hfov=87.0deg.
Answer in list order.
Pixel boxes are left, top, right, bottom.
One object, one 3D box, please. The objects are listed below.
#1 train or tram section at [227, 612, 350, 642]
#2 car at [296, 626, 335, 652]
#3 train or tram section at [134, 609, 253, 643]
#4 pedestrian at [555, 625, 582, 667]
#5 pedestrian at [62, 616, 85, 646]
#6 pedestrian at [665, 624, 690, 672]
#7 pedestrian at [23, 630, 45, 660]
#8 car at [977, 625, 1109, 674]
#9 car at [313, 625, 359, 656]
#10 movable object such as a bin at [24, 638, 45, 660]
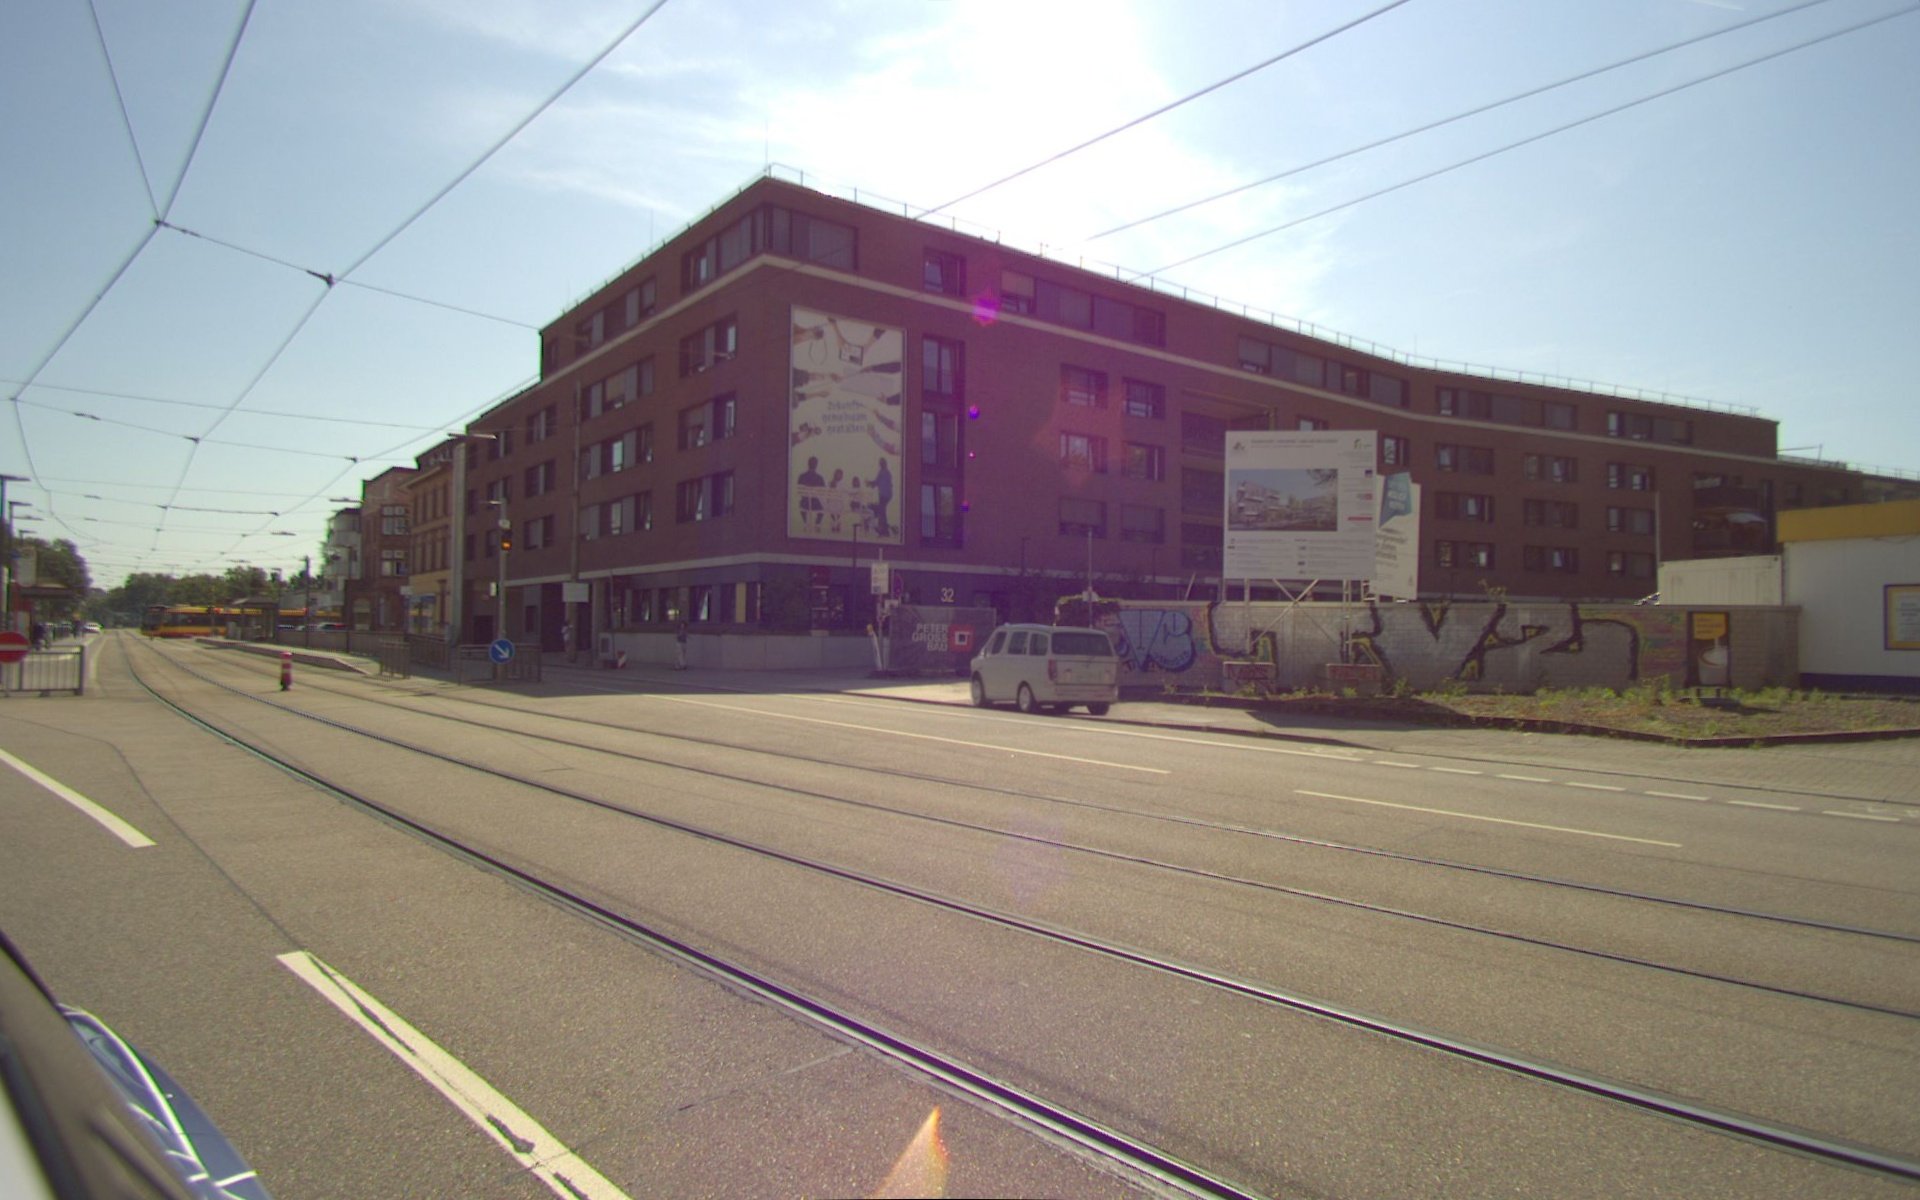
[{"bbox_3d":[-81.441,3.367,123.290,2.671,3.507,13.235,-1,-2,22],"label":"train or tram section"},{"bbox_3d":[-42.664,2.587,66.958,1.690,1.635,3.584,1,-2,-40],"label":"car"},{"bbox_3d":[-83.724,2.955,111.084,2.652,3.507,13.331,0,-2,1],"label":"train or tram section"},{"bbox_3d":[-17.268,2.010,44.630,0.834,1.833,0.840,2,-3,-40],"label":"pedestrian"},{"bbox_3d":[-55.604,1.970,63.484,0.968,1.873,1.239,2,-3,-40],"label":"pedestrian"},{"bbox_3d":[-9.971,1.690,35.763,0.574,1.677,0.700,2,-3,-42],"label":"pedestrian"},{"bbox_3d":[-39.507,1.921,43.178,0.621,1.264,0.710,3,-4,-41],"label":"pedestrian"},{"bbox_3d":[2.647,1.579,32.790,3.937,1.434,1.805,-1,-1,-8],"label":"car"},{"bbox_3d":[-37.335,2.412,60.485,1.778,1.742,4.195,0,-2,-40],"label":"car"},{"bbox_3d":[-39.898,2.113,43.622,0.621,0.907,0.489,3,-4,-41],"label":"movable object such as a bin"}]
